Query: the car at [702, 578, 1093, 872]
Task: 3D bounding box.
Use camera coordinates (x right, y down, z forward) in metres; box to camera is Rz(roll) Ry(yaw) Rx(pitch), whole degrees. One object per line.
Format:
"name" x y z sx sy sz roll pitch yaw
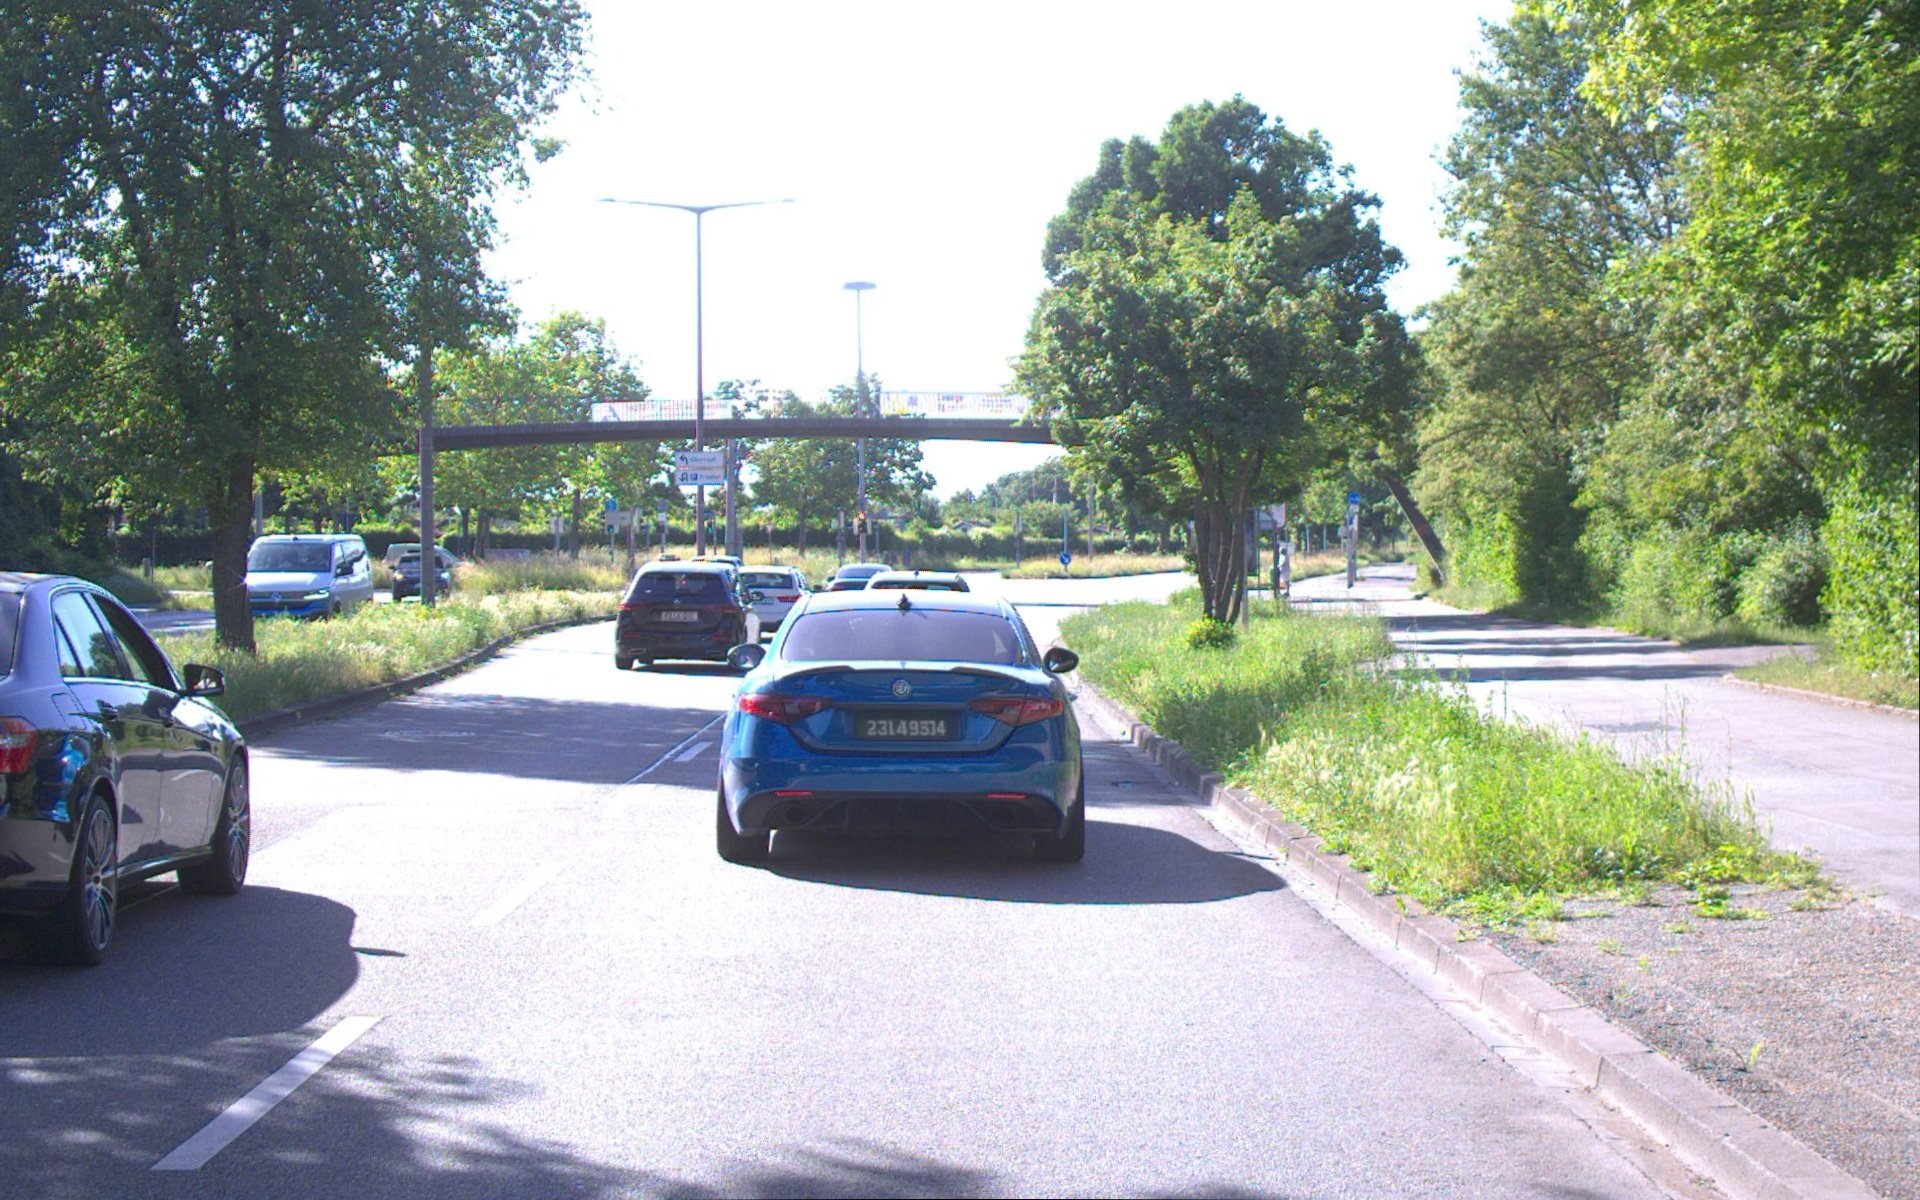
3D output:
"car" -0.334 0.609 18.907 1.883 1.401 4.224 1 0 -1

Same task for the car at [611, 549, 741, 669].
"car" -3.984 0.124 48.668 1.707 1.592 4.224 1 0 -3

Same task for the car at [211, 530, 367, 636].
"car" -12.630 -0.313 65.052 1.993 1.922 5.245 0 0 -1

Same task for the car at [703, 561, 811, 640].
"car" -3.926 0.006 67.095 1.883 1.449 4.526 1 0 -1

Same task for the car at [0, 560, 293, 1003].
"car" -4.157 0.585 13.933 1.959 1.478 4.918 0 0 0

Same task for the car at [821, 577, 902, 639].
"car" -2.400 0.184 84.673 1.883 1.449 4.526 1 0 -1

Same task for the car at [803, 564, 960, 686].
"car" -0.985 0.298 44.169 1.883 1.449 4.526 1 0 -1

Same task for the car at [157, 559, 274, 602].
"car" -30.682 -0.797 141.723 4.311 1.645 1.998 1 0 20

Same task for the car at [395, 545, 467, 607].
"car" -17.682 -0.792 115.106 1.993 2.007 4.583 1 0 -4
